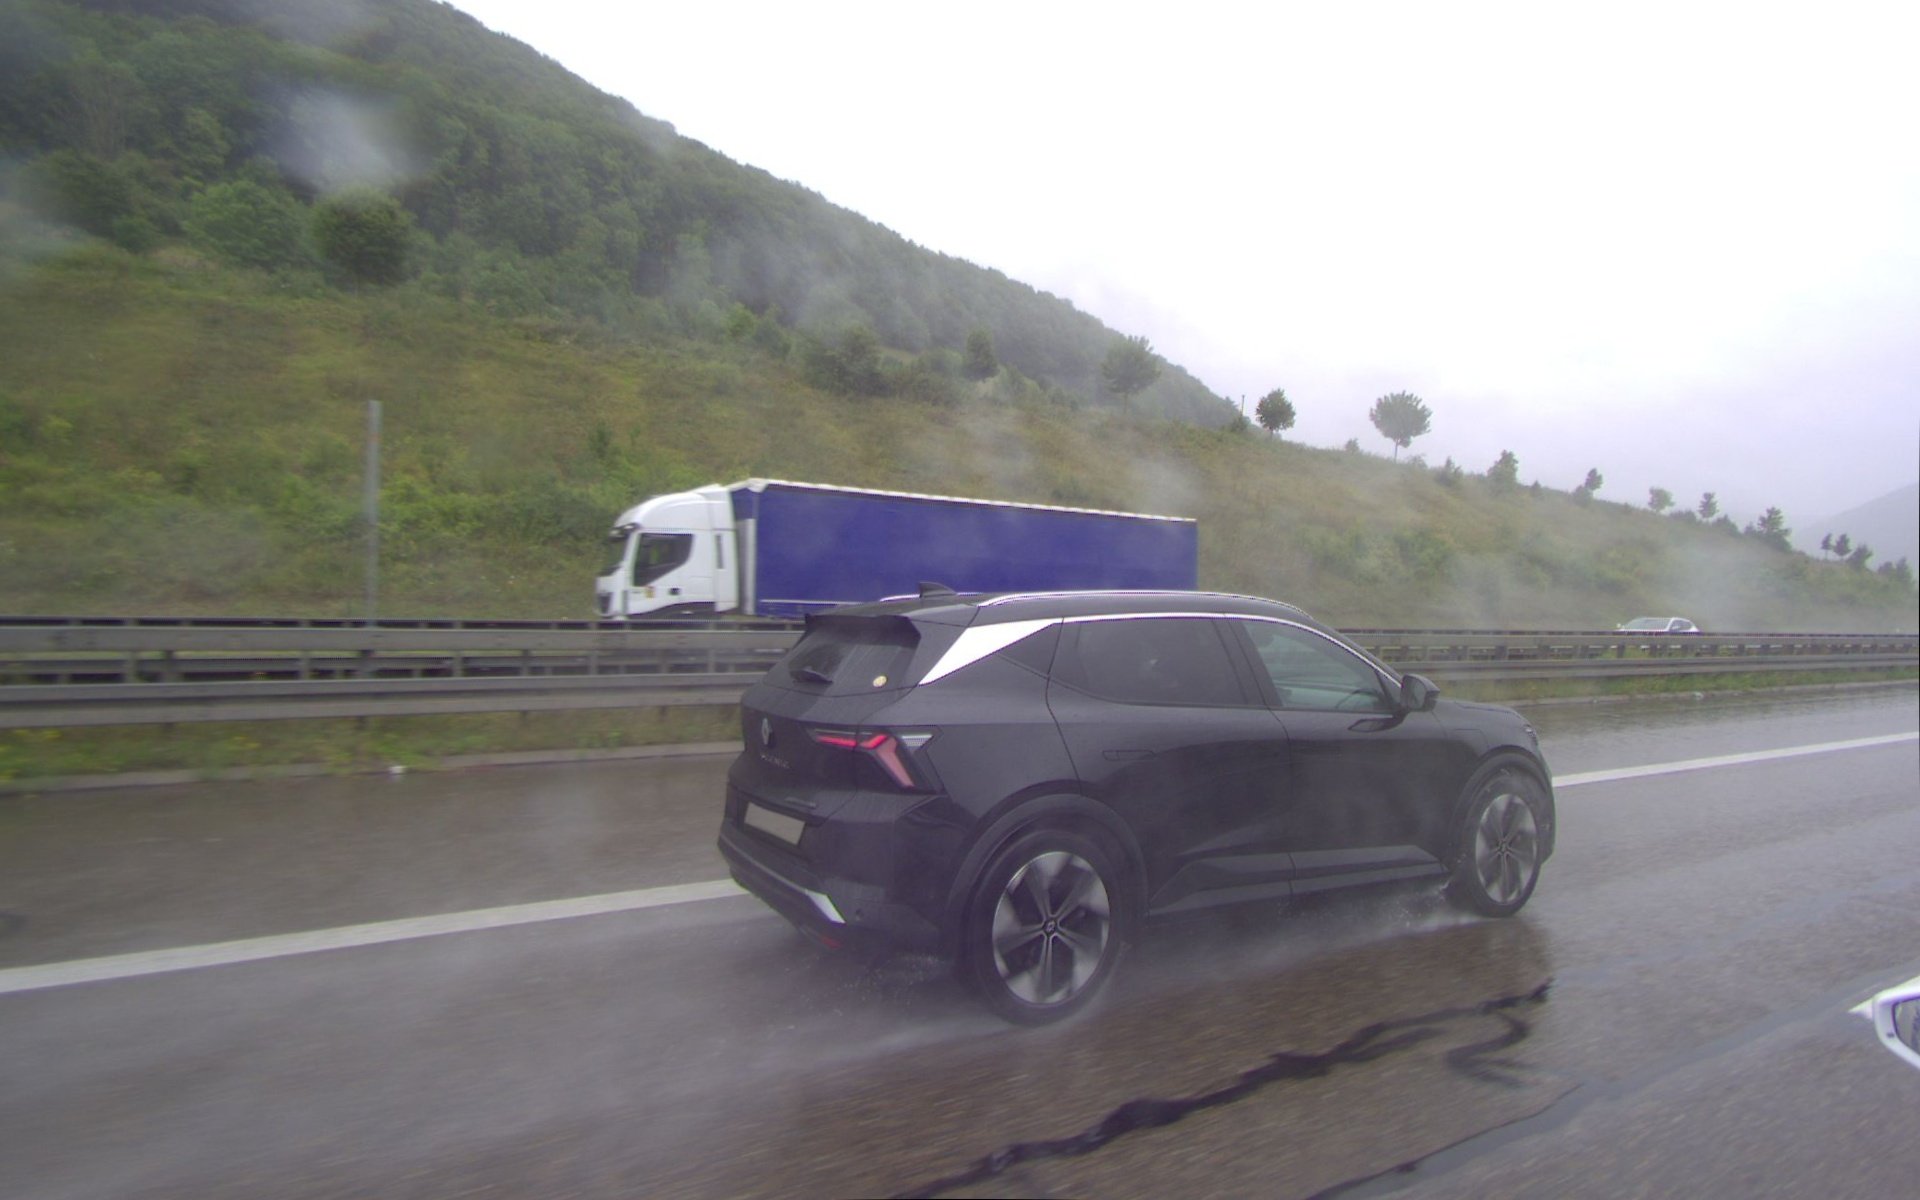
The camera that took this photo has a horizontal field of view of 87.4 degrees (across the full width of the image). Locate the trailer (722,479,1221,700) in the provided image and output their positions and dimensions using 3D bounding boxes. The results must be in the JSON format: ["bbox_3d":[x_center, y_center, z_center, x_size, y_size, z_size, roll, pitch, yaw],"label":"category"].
[{"bbox_3d":[0.901,-0.102,26.756,13.880,4.849,2.723,1,0,-31],"label":"trailer"}]

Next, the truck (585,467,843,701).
[{"bbox_3d":[-5.561,-0.288,22.797,5.096,4.735,2.676,1,0,-31],"label":"truck"}]

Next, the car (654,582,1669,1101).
[{"bbox_3d":[1.092,0.757,5.182,4.726,1.535,2.395,1,0,-29],"label":"car"}]

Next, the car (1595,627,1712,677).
[{"bbox_3d":[26.321,1.926,38.100,4.606,1.768,1.983,1,-1,-31],"label":"car"}]
